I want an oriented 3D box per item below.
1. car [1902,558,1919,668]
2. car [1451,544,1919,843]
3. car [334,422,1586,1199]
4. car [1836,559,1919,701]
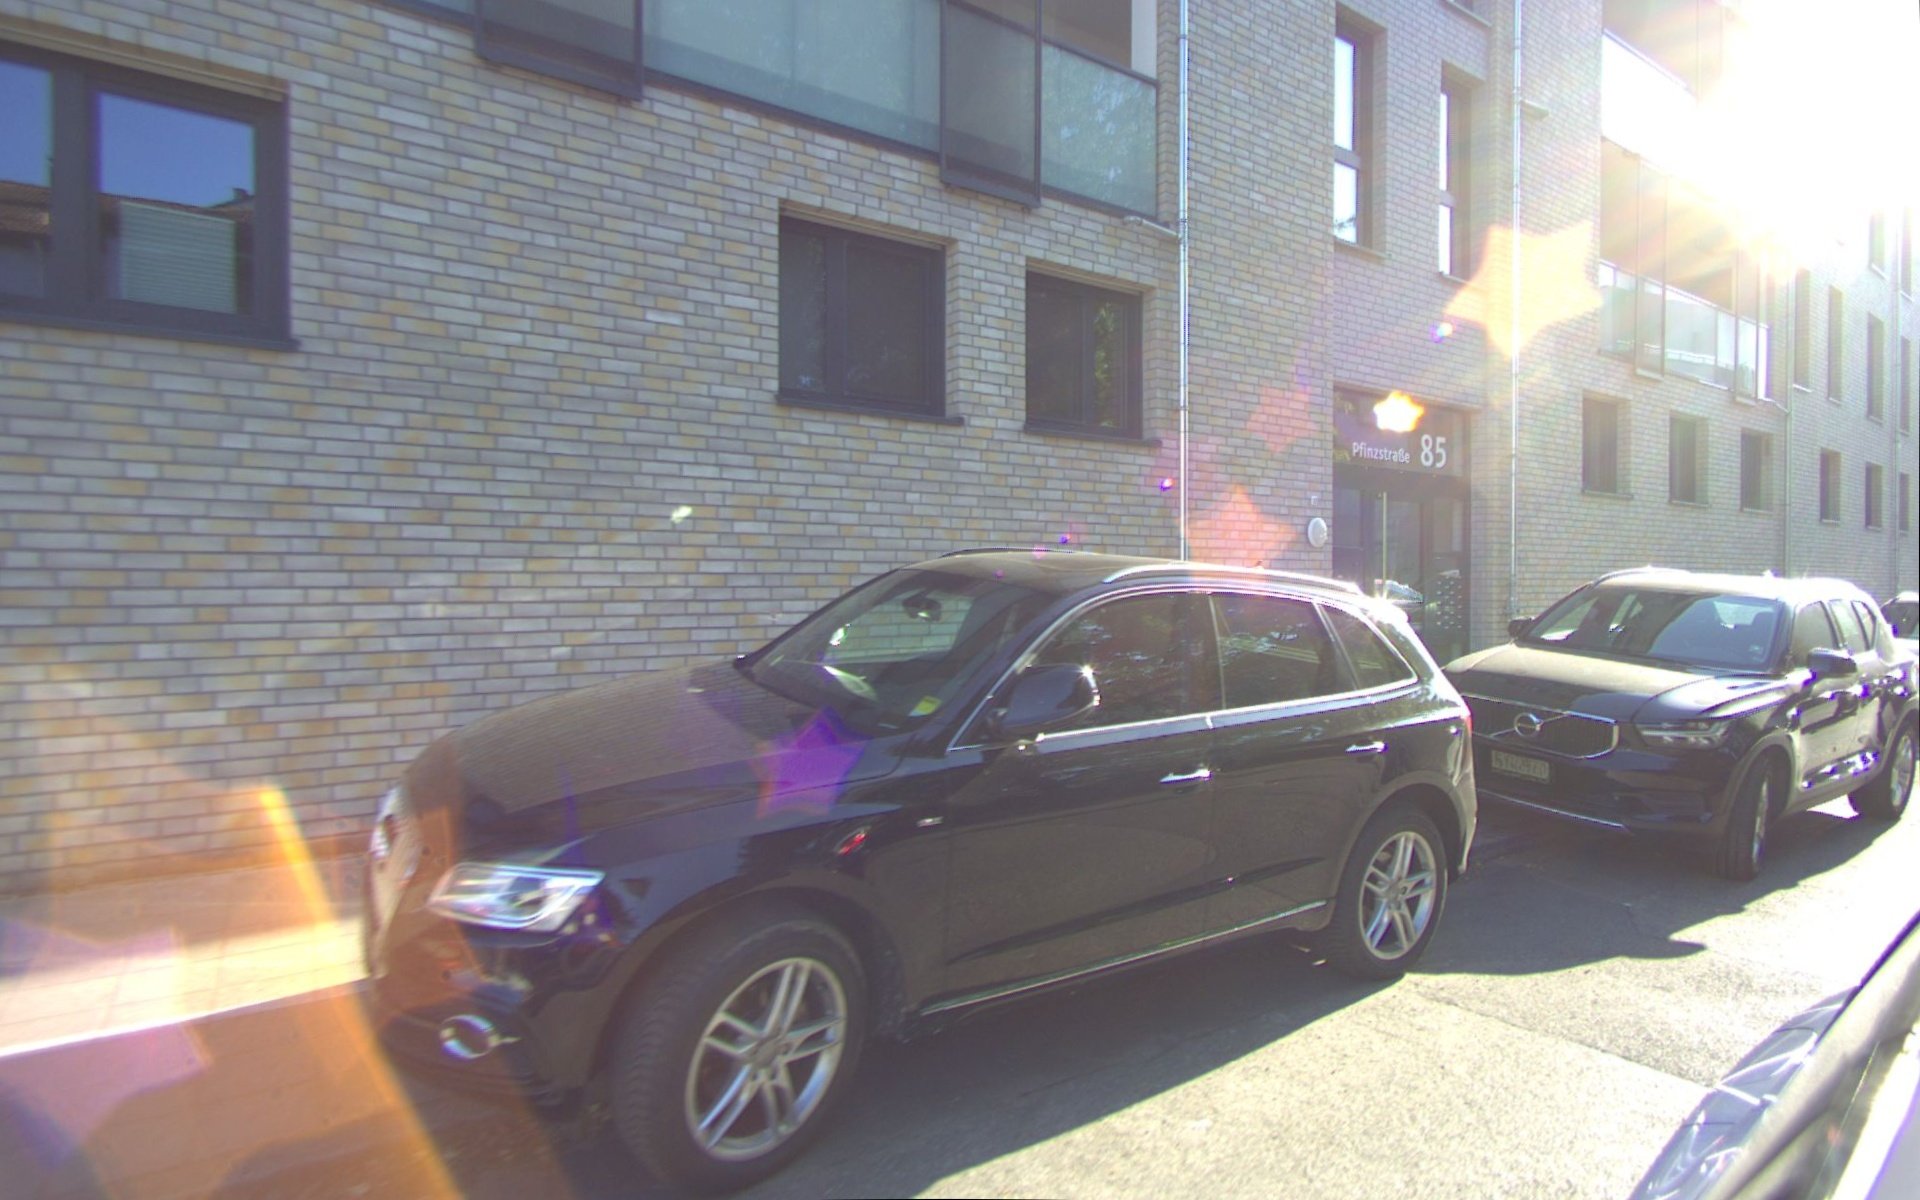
[{"bbox_3d":[15.438,0.167,14.878,4.142,1.534,1.668,-1,3,-38],"label":"car"},{"bbox_3d":[5.373,0.404,7.006,4.190,1.485,1.822,-1,2,-36],"label":"car"},{"bbox_3d":[0.259,0.479,4.085,4.678,1.733,1.898,0,1,-30],"label":"car"},{"bbox_3d":[11.972,0.277,11.899,4.635,1.485,1.701,-1,3,-39],"label":"car"}]
